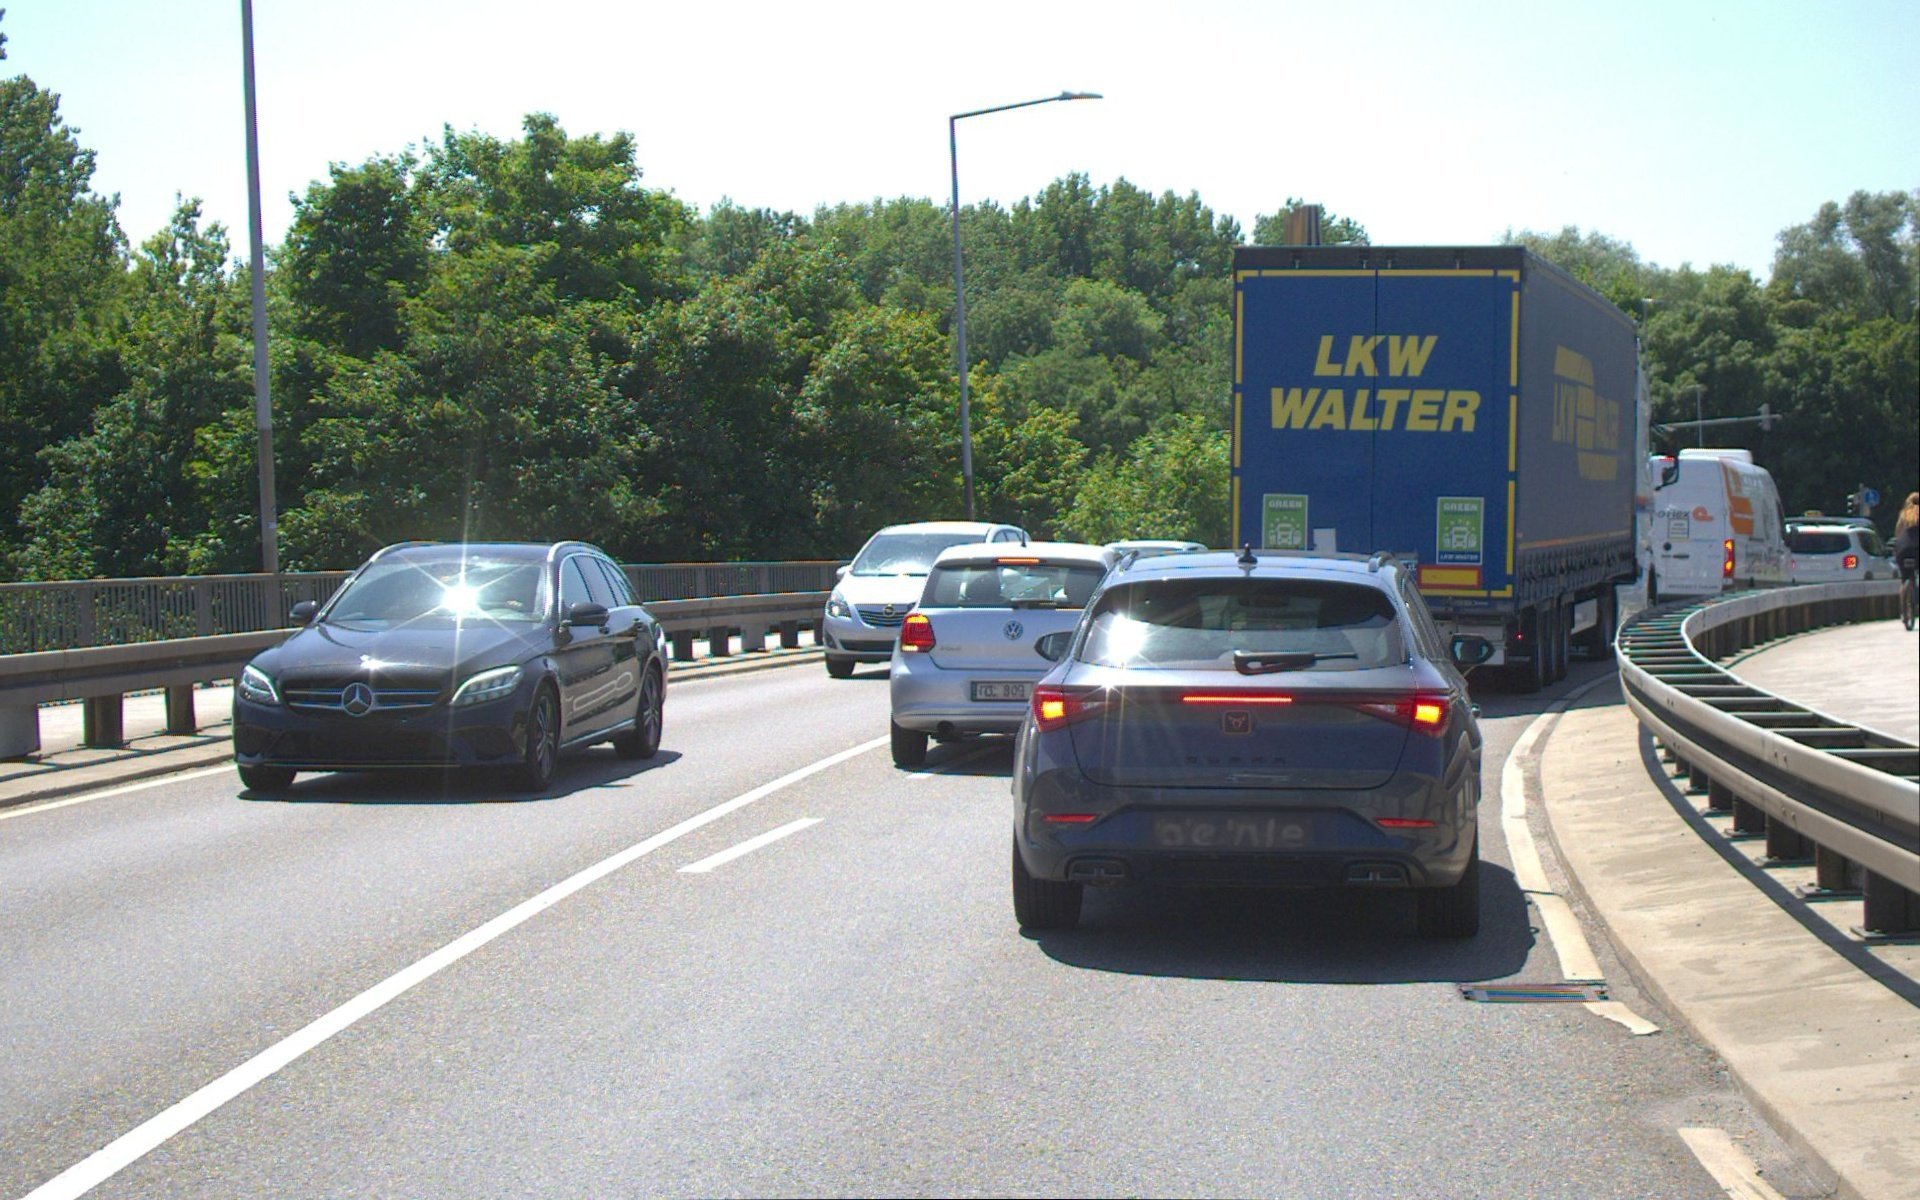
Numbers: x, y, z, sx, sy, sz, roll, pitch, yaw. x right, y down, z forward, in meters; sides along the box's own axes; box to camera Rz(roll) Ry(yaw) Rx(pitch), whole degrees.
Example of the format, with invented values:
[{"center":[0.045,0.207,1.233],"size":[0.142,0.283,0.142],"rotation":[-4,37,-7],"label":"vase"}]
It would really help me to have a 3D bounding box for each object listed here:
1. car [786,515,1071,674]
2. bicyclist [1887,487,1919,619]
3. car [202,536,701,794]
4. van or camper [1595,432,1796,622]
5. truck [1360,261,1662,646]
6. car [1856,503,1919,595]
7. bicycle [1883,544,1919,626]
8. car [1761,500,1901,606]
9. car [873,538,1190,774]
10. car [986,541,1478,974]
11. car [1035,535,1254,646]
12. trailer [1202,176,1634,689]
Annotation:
[{"center":[-0.261,-0.099,36.312],"size":[1.738,1.574,4.173],"rotation":[0,1,19],"label":"car"},{"center":[12.348,-0.612,44.479],"size":[0.578,1.677,0.728],"rotation":[-2,0,20],"label":"bicyclist"},{"center":[-3.023,0.320,21.424],"size":[1.773,1.434,4.390],"rotation":[0,1,10],"label":"car"},{"center":[11.624,-1.163,54.003],"size":[2.156,2.806,6.381],"rotation":[1,2,20],"label":"van or camper"},{"center":[6.991,-1.775,42.896],"size":[2.907,4.403,6.551],"rotation":[1,2,16],"label":"truck"},{"center":[19.429,-1.039,69.247],"size":[1.723,1.796,3.994],"rotation":[1,2,29],"label":"car"},{"center":[12.356,-0.208,44.565],"size":[0.582,1.032,1.483],"rotation":[-2,0,20],"label":"bicycle"},{"center":[15.802,-0.889,62.286],"size":[1.723,1.837,3.995],"rotation":[1,2,25],"label":"car"},{"center":[0.570,0.312,23.475],"size":[1.677,1.406,3.974],"rotation":[1,2,8],"label":"car"},{"center":[1.160,0.503,13.816],"size":[1.677,1.451,3.958],"rotation":[1,1,7],"label":"car"},{"center":[2.482,-0.164,45.236],"size":[1.699,1.371,3.996],"rotation":[0,1,22],"label":"car"},{"center":[5.133,-1.607,35.900],"size":[2.906,4.403,12.425],"rotation":[1,2,15],"label":"trailer"}]
